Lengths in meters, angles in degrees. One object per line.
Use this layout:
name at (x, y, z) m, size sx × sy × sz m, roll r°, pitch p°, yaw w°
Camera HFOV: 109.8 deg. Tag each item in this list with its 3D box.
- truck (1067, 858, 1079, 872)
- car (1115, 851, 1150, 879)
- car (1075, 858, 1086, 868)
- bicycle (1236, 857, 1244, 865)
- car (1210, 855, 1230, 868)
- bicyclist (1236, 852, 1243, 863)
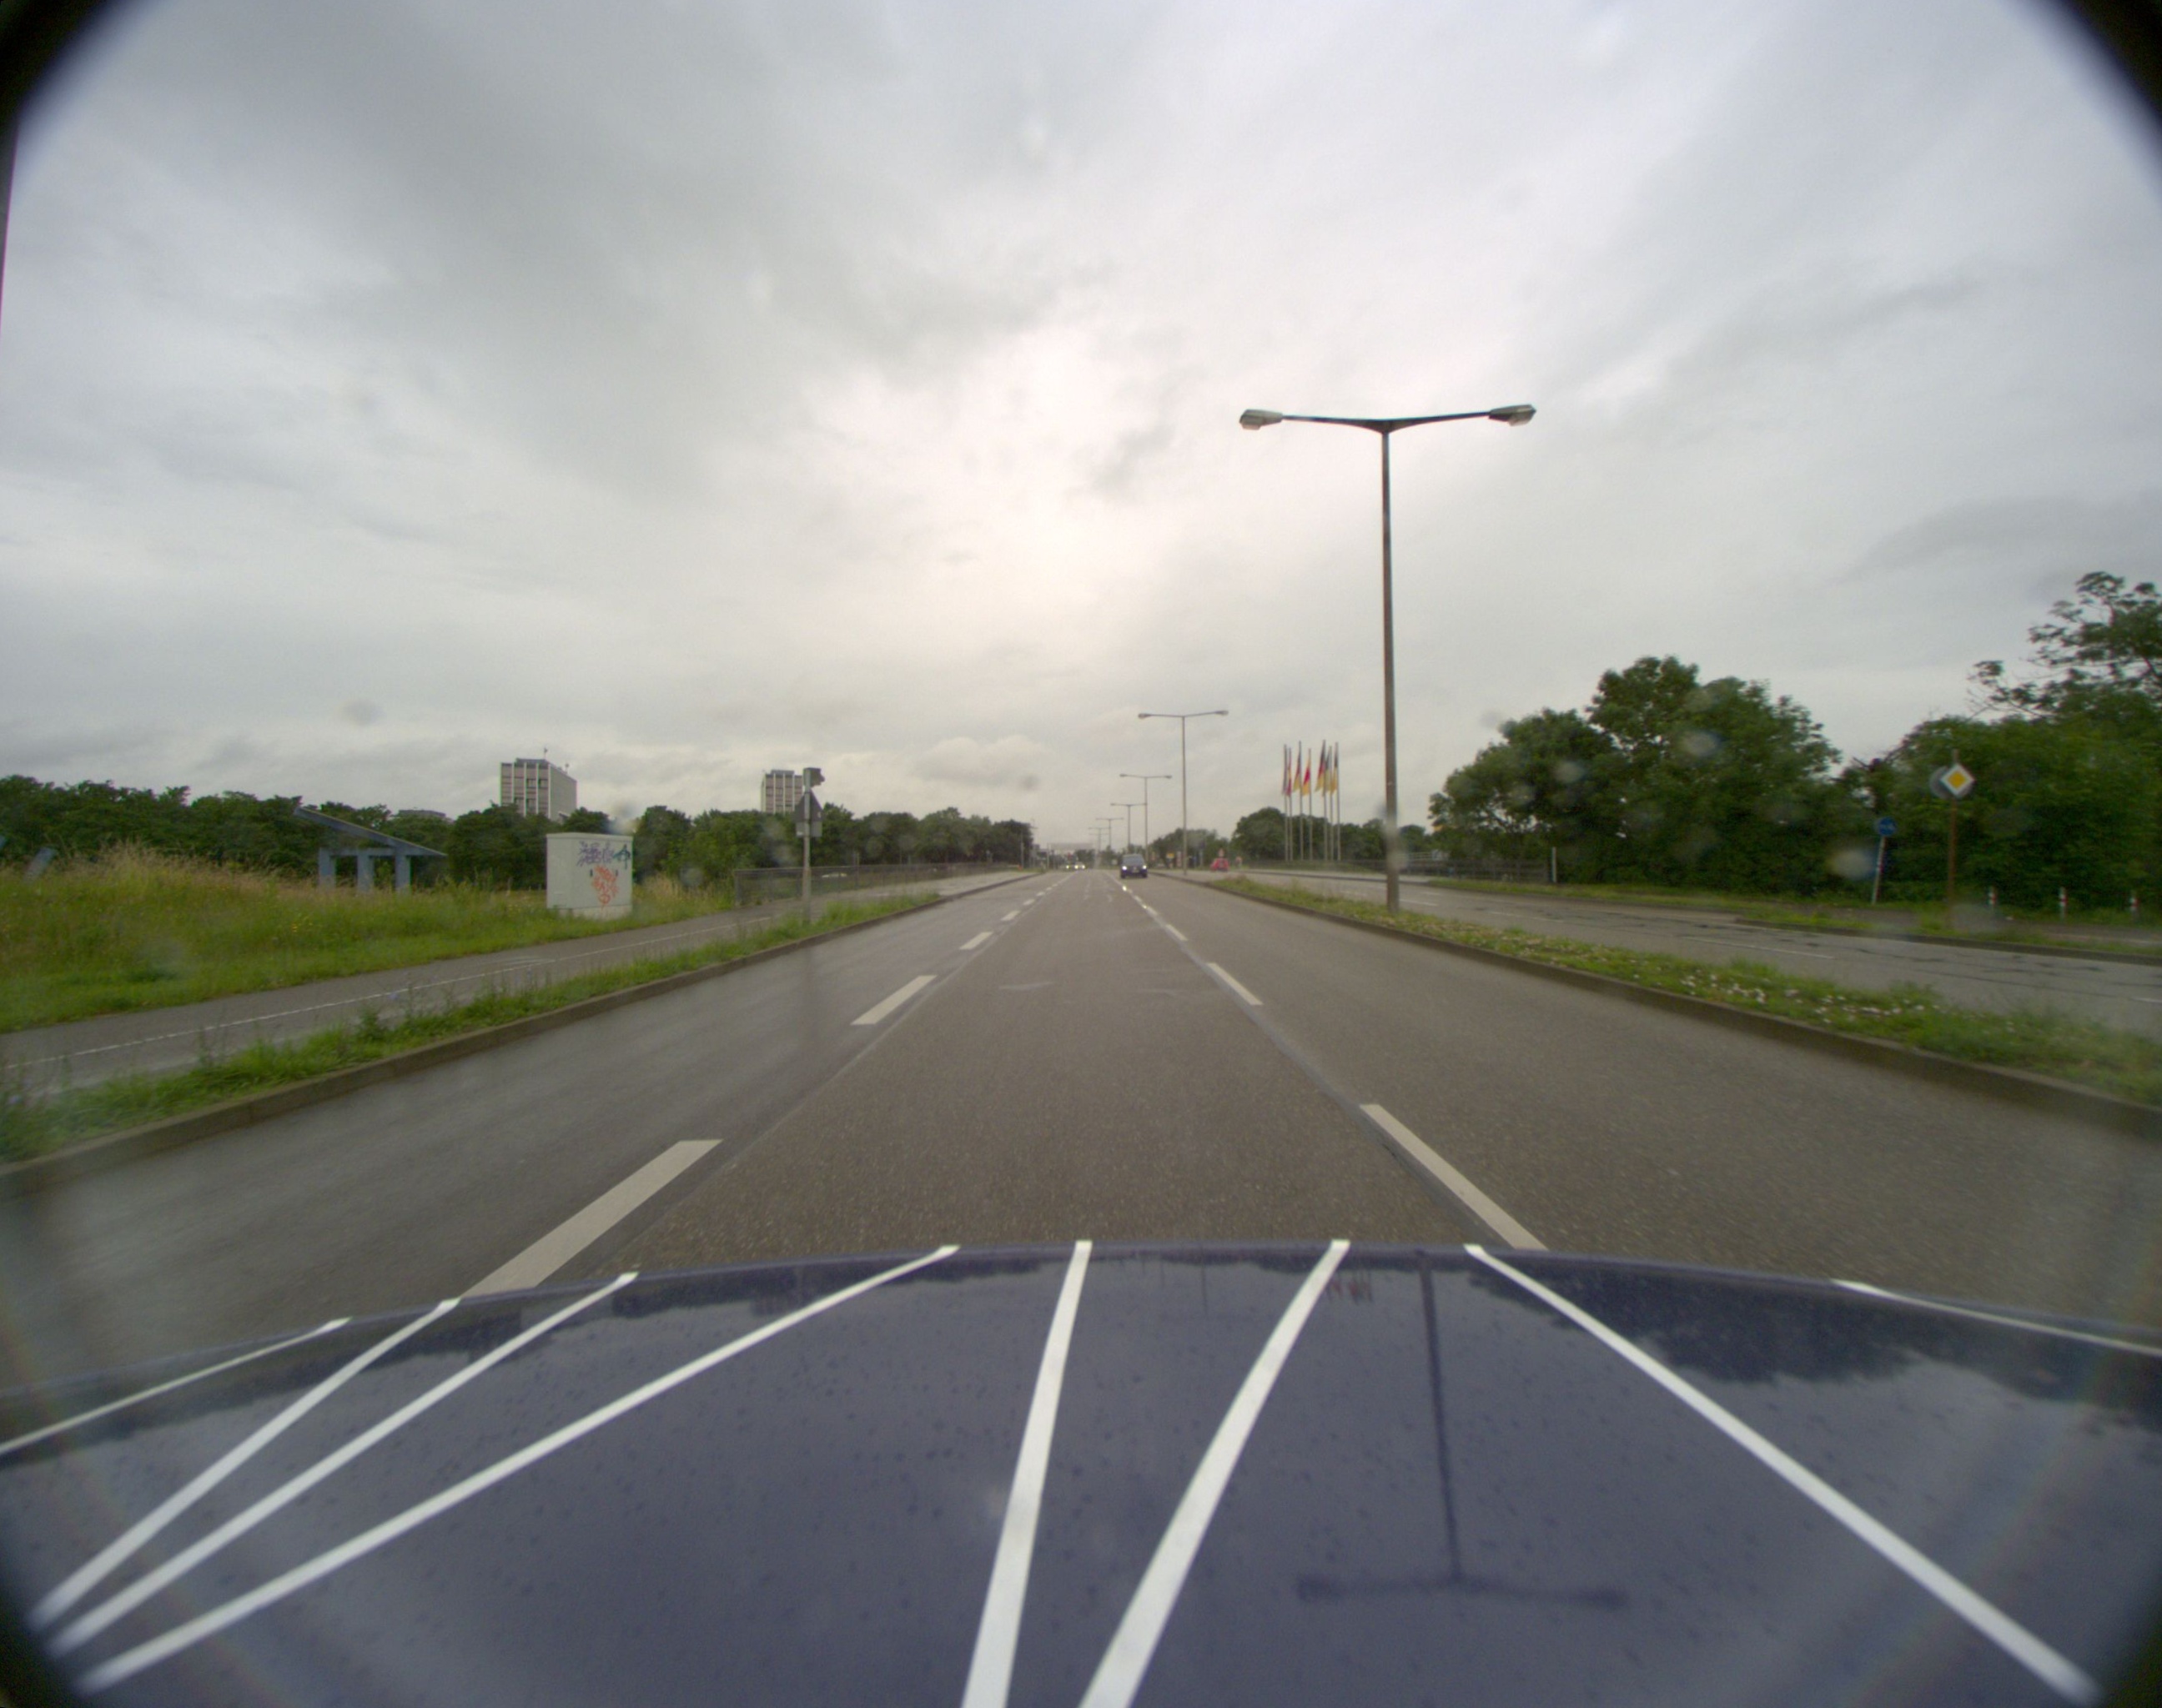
truck at (-2.020, 2.649, 185.174) m, size 2.860 × 3.196 × 8.096 m, roll -1°, pitch 0°, yaw -1°
car at (3.730, 0.749, 55.616) m, size 1.851 × 1.741 × 4.815 m, roll -3°, pitch 1°, yaw -3°
car at (-0.042, 1.681, 145.651) m, size 1.999 × 1.700 × 3.999 m, roll -1°, pitch 0°, yaw -1°
bicycle at (20.998, 0.908, 100.575) m, size 0.611 × 1.027 × 2.001 m, roll -2°, pitch 0°, yaw 0°
car at (15.739, 0.824, 86.218) m, size 1.664 × 1.440 × 3.557 m, roll 1°, pitch 0°, yaw 0°
bicyclist at (20.978, 0.469, 100.574) m, size 0.621 × 1.491 × 1.003 m, roll -2°, pitch 1°, yaw 0°
